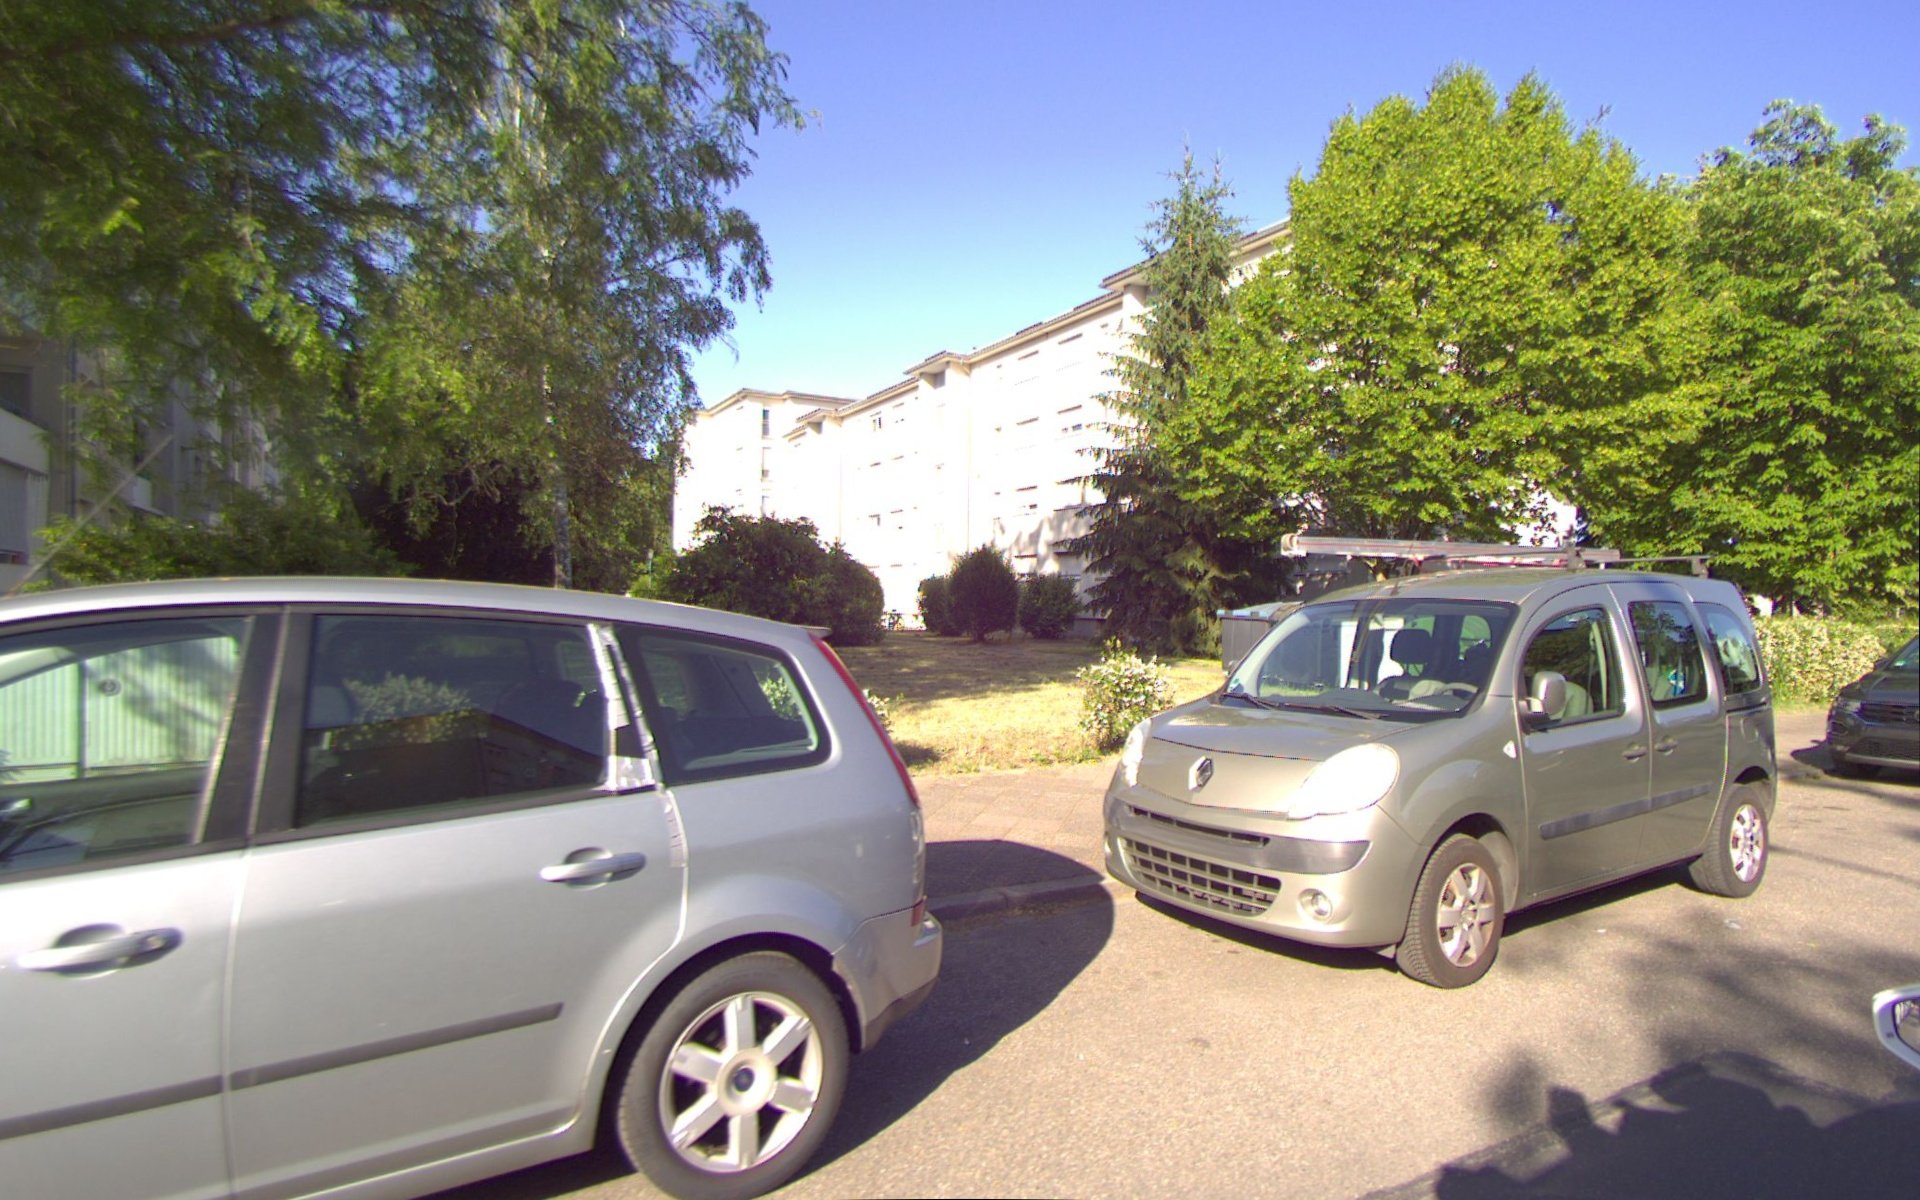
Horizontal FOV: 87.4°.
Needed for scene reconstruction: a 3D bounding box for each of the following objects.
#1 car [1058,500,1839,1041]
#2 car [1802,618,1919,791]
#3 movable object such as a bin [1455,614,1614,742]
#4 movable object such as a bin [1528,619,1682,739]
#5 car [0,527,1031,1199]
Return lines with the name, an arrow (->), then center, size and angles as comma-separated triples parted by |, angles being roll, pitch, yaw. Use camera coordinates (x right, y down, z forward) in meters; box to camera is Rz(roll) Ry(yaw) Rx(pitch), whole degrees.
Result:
car -> 2.827, 0.649, 5.520 | 4.369, 1.917, 1.844 | 1, -1, -32
car -> 10.415, 0.966, 9.990 | 4.087, 1.554, 1.740 | 1, -1, -28
movable object such as a bin -> 6.972, 0.898, 12.203 | 1.344, 1.390, 1.096 | 1, 3, -30
movable object such as a bin -> 8.218, 0.960, 12.818 | 1.344, 1.375, 1.096 | 1, 3, -30
car -> -1.899, 0.715, 2.678 | 3.941, 1.621, 1.701 | 1, -2, -32
